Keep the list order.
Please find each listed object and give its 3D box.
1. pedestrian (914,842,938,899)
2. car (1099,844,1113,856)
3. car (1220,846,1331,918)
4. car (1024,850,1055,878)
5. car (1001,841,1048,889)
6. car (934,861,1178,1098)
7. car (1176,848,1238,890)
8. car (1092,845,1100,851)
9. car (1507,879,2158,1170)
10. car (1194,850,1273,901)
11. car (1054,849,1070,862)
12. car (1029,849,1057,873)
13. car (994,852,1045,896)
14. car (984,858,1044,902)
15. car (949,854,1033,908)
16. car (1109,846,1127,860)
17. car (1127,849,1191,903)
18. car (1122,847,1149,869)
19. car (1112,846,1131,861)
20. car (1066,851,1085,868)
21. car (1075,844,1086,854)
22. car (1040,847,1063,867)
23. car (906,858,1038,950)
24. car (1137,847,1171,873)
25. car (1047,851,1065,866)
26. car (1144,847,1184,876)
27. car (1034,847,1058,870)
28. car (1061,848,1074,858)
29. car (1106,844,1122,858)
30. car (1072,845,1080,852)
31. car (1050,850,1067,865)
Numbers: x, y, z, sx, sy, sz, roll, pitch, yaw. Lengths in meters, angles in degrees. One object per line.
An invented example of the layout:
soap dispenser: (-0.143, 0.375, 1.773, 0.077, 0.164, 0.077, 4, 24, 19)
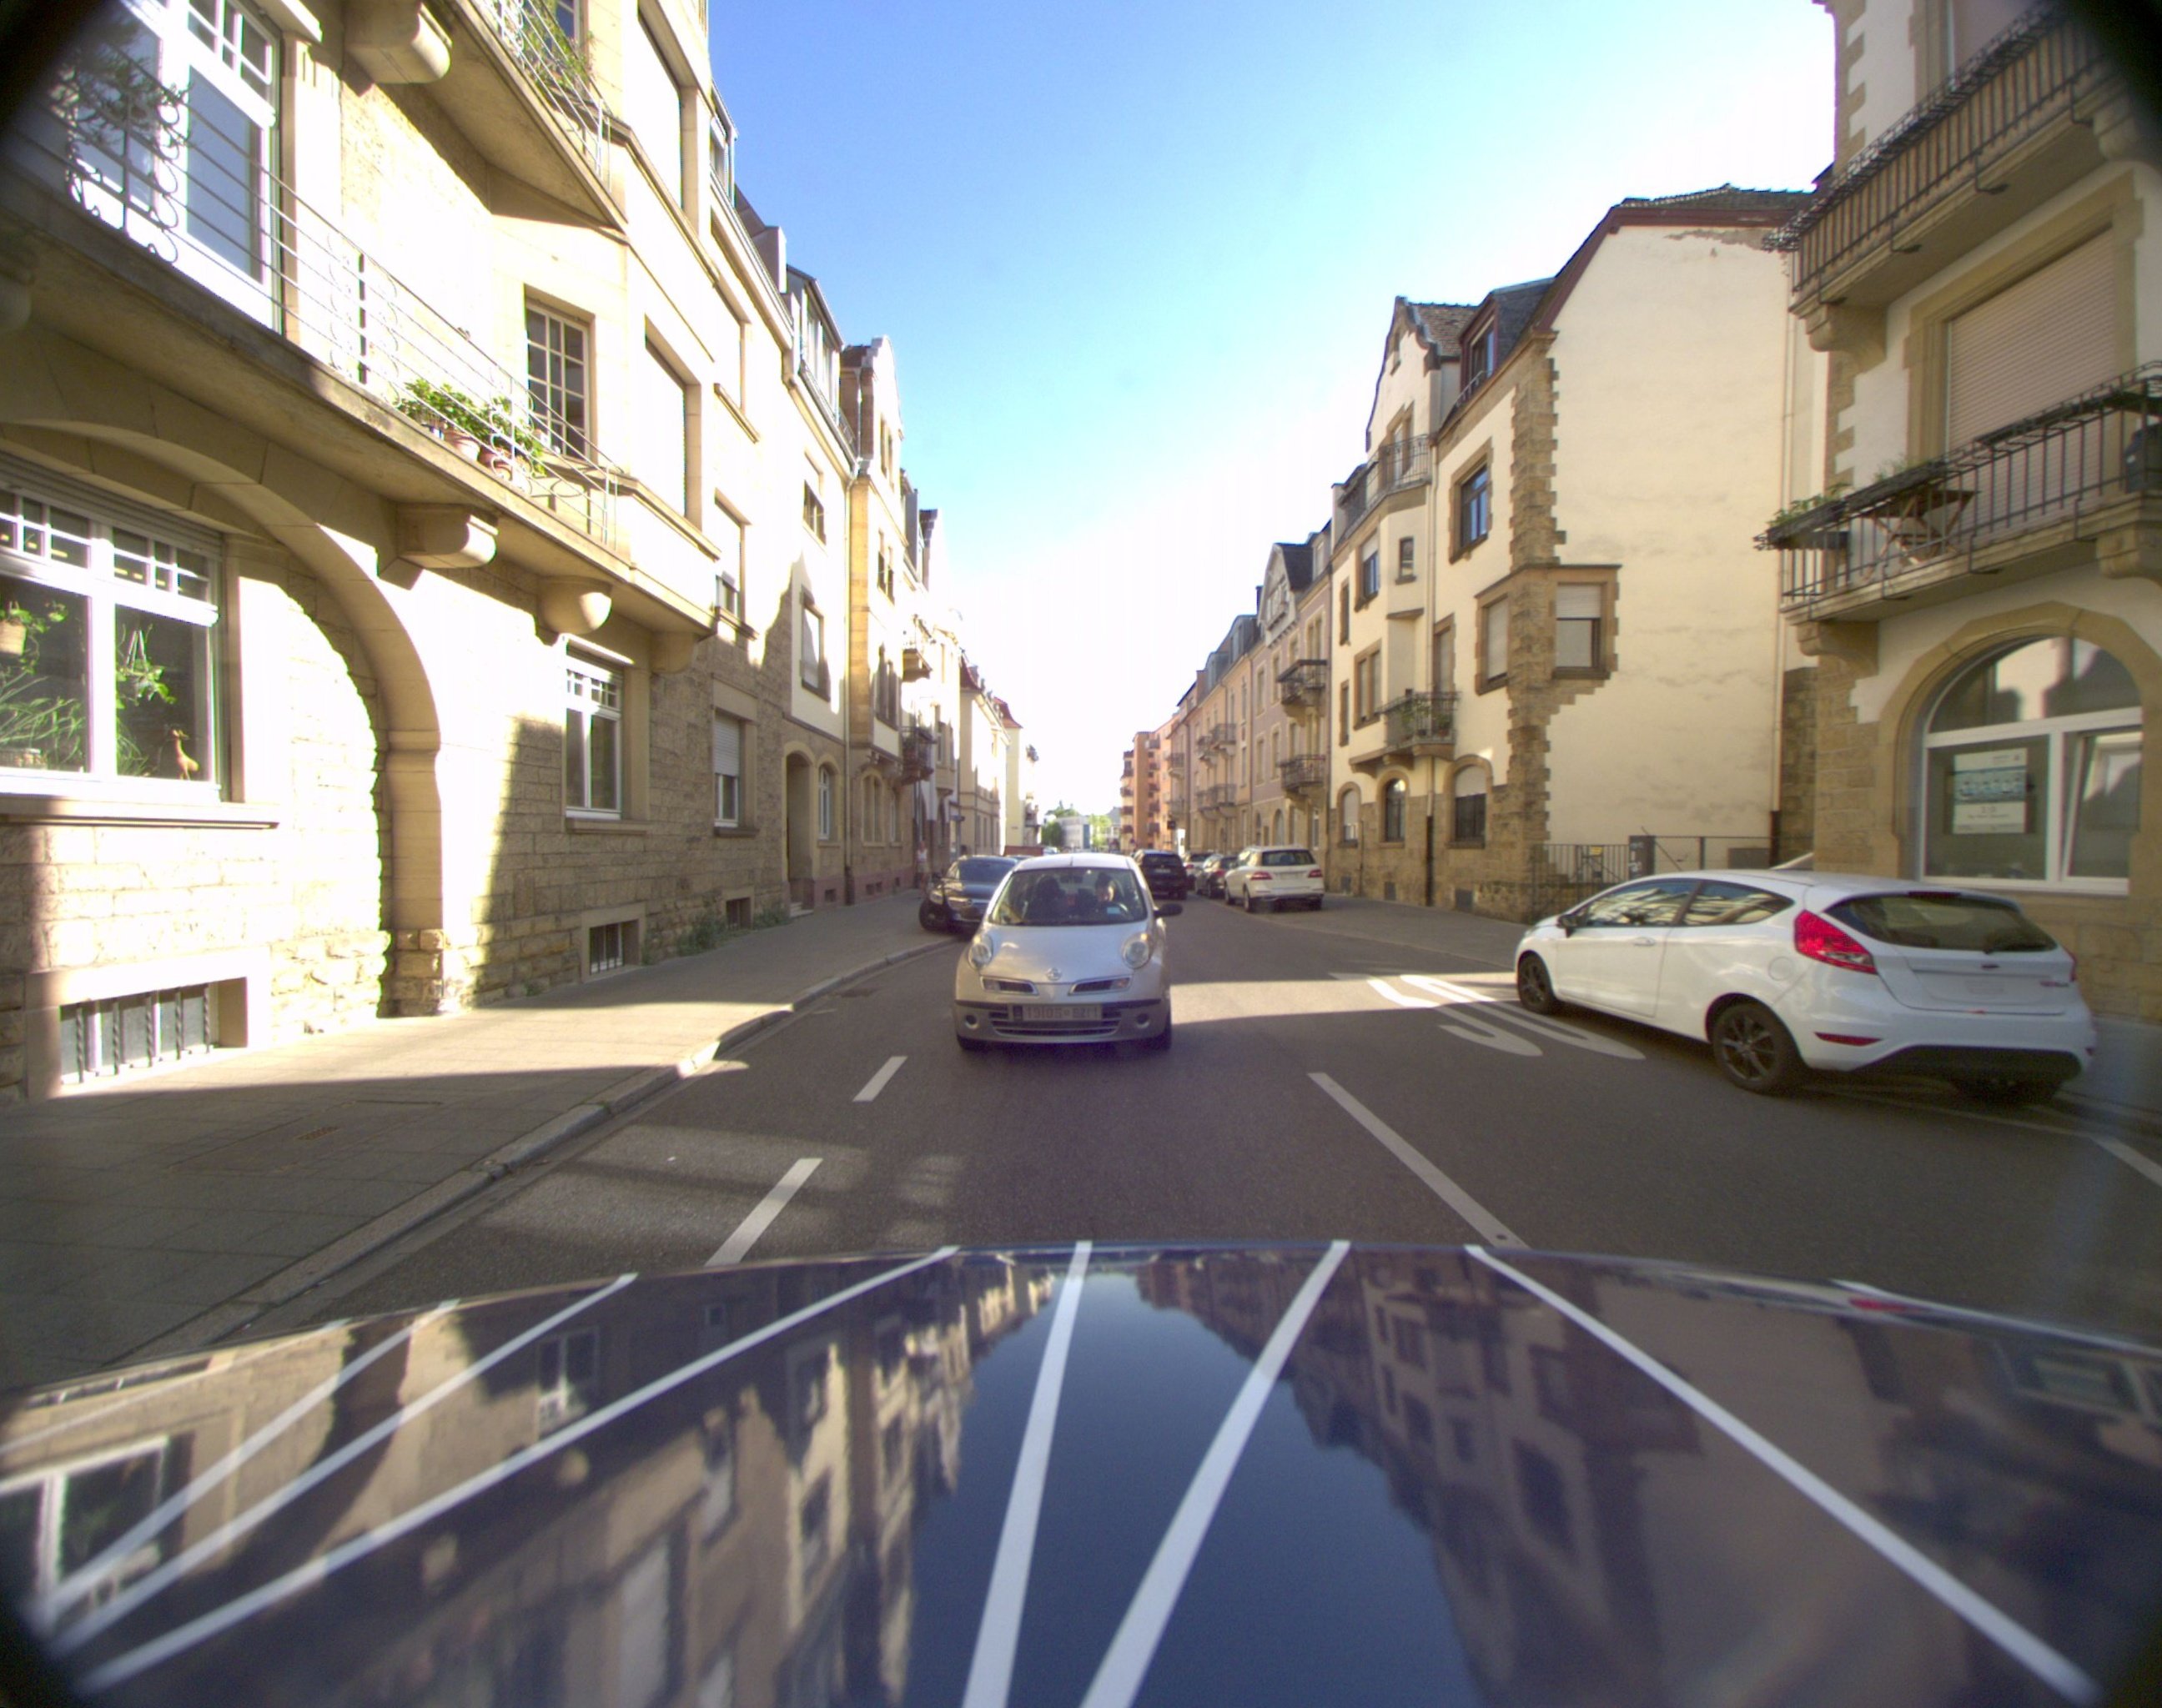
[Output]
pedestrian: (-4.736, 0.504, 23.228, 0.578, 1.712, 0.697, 1, 1, 0)
car: (3.823, -0.631, 118.032, 1.917, 1.614, 4.345, -3, 1, -1)
car: (5.204, 0.665, 20.943, 1.917, 1.650, 4.345, -3, 1, 1)
car: (-2.591, 0.613, 47.971, 1.833, 1.586, 3.819, -2, 0, -2)
car: (-2.546, 0.477, 35.282, 1.833, 2.023, 3.819, -2, 0, 0)
car: (-0.107, 0.886, 7.029, 1.651, 1.559, 3.616, -1, 0, 2)
car: (5.333, 0.596, 32.666, 1.917, 1.509, 4.345, -3, 1, 1)
car: (3.996, -1.596, 200.691, 1.917, 1.614, 4.345, -3, 1, -1)
car: (5.102, 0.989, 5.941, 1.556, 1.403, 3.571, 2, 0, 2)
car: (5.263, 0.684, 26.810, 1.917, 1.509, 4.345, -3, 1, 1)
car: (-2.493, 0.186, 100.037, 1.877, 1.657, 3.999, -1, 1, 1)
car: (-2.666, 0.488, 53.894, 1.833, 1.586, 3.819, -2, 0, -2)
car: (-2.431, 0.758, 30.813, 1.833, 1.586, 3.819, -2, 0, -2)
car: (-2.287, 0.857, 26.659, 1.833, 1.337, 3.819, -2, 0, -2)
car: (-2.488, 0.713, 21.857, 1.833, 1.337, 4.000, -2, 0, 1)
car: (4.646, -0.138, 96.669, 1.917, 1.614, 4.345, -3, 1, -1)
car: (2.651, 0.704, 26.843, 1.917, 1.718, 4.346, 1, 0, 2)
car: (4.490, 0.269, 63.207, 1.917, 1.614, 4.345, -3, 1, 0)
car: (4.829, -0.071, 91.719, 1.917, 1.614, 4.345, -3, 1, -1)
car: (-0.532, 0.578, 80.585, 1.877, 1.657, 3.999, -1, 1, 1)
car: (-0.003, -0.925, 137.992, 1.877, 1.657, 3.999, -1, 1, 1)
car: (-2.546, 0.242, 65.375, 1.833, 1.649, 3.819, -2, 0, -2)
car: (-2.049, 0.892, 15.460, 1.998, 1.528, 4.000, -2, 0, 1)
car: (5.061, 0.398, 52.878, 1.917, 1.614, 4.345, -3, 1, 1)
car: (-2.910, 0.515, 88.759, 1.877, 1.657, 3.999, -1, 1, 1)
car: (5.021, 0.406, 46.448, 1.917, 1.509, 4.345, -3, 1, 1)
car: (-2.753, 0.356, 60.323, 1.833, 1.649, 3.819, -2, 0, -2)
car: (-2.198, -0.173, 123.601, 1.877, 1.657, 3.999, -1, 1, 1)
car: (4.417, -0.423, 102.281, 1.917, 1.614, 4.345, -3, 1, -1)
car: (-1.179, -1.341, 180.591, 1.877, 1.657, 3.999, -1, 1, 1)
car: (-2.749, 0.435, 93.766, 1.877, 1.657, 3.999, -1, 1, 1)
